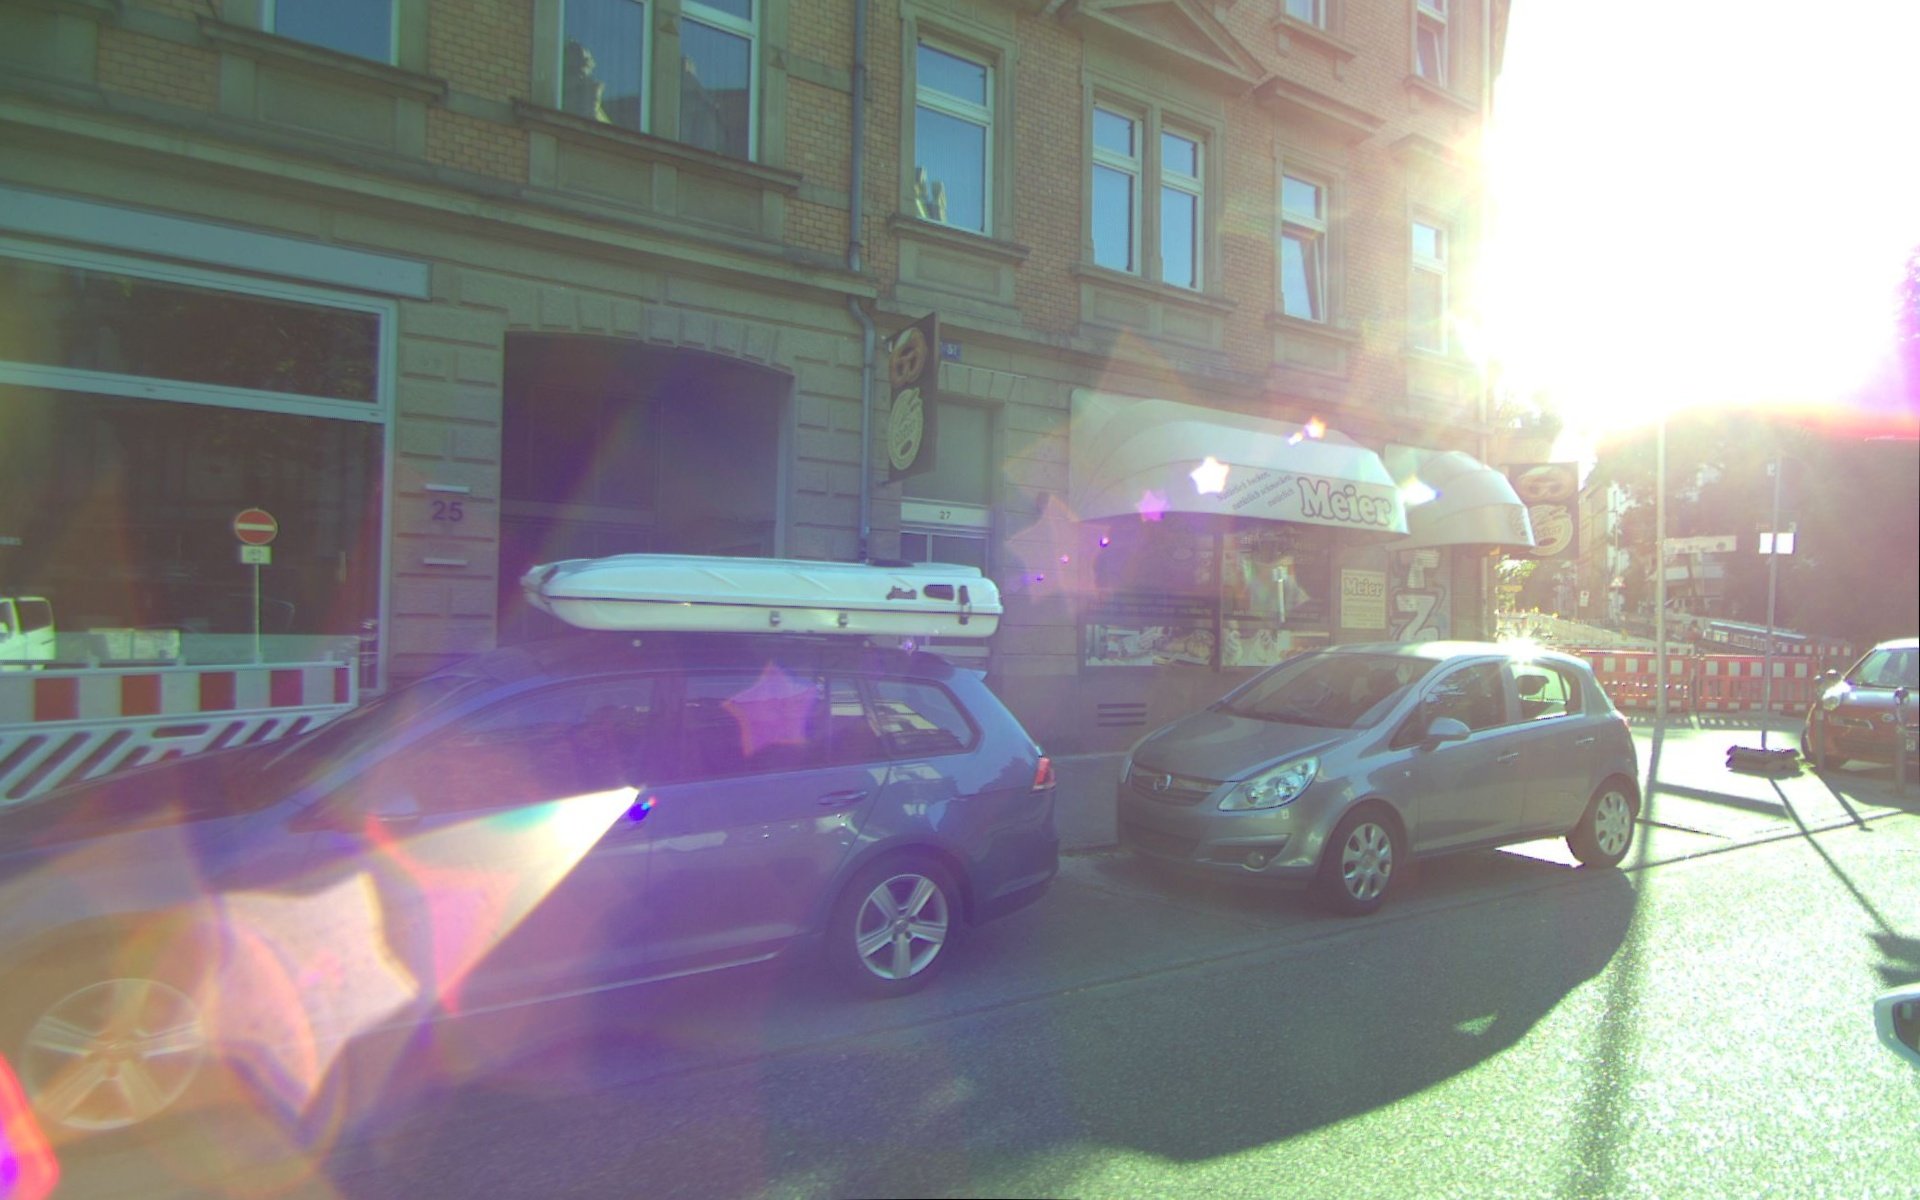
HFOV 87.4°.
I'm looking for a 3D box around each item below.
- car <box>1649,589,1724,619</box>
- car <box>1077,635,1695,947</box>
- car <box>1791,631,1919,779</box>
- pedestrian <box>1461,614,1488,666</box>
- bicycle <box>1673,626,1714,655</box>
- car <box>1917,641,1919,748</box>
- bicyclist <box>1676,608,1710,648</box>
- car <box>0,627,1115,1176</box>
[{"bbox_3d":[52.526,0.286,72.694,4.315,2.040,1.926,0,-1,39],"label":"car"},{"bbox_3d":[2.887,1.000,6.645,3.948,1.456,1.717,1,0,-30],"label":"car"},{"bbox_3d":[11.646,1.166,11.895,3.956,1.550,1.660,2,-2,-32],"label":"car"},{"bbox_3d":[20.481,1.576,40.000,0.925,2.040,0.958,0,-1,26],"label":"pedestrian"},{"bbox_3d":[26.829,1.469,36.762,0.790,0.981,2.107,1,-1,25],"label":"bicycle"},{"bbox_3d":[15.384,1.347,14.221,3.953,1.477,1.661,2,-2,-31],"label":"car"},{"bbox_3d":[26.878,1.021,36.850,0.790,1.402,0.984,1,-1,25],"label":"bicyclist"},{"bbox_3d":[-1.525,0.861,4.357,4.252,1.456,1.756,1,-2,-32],"label":"car"}]
